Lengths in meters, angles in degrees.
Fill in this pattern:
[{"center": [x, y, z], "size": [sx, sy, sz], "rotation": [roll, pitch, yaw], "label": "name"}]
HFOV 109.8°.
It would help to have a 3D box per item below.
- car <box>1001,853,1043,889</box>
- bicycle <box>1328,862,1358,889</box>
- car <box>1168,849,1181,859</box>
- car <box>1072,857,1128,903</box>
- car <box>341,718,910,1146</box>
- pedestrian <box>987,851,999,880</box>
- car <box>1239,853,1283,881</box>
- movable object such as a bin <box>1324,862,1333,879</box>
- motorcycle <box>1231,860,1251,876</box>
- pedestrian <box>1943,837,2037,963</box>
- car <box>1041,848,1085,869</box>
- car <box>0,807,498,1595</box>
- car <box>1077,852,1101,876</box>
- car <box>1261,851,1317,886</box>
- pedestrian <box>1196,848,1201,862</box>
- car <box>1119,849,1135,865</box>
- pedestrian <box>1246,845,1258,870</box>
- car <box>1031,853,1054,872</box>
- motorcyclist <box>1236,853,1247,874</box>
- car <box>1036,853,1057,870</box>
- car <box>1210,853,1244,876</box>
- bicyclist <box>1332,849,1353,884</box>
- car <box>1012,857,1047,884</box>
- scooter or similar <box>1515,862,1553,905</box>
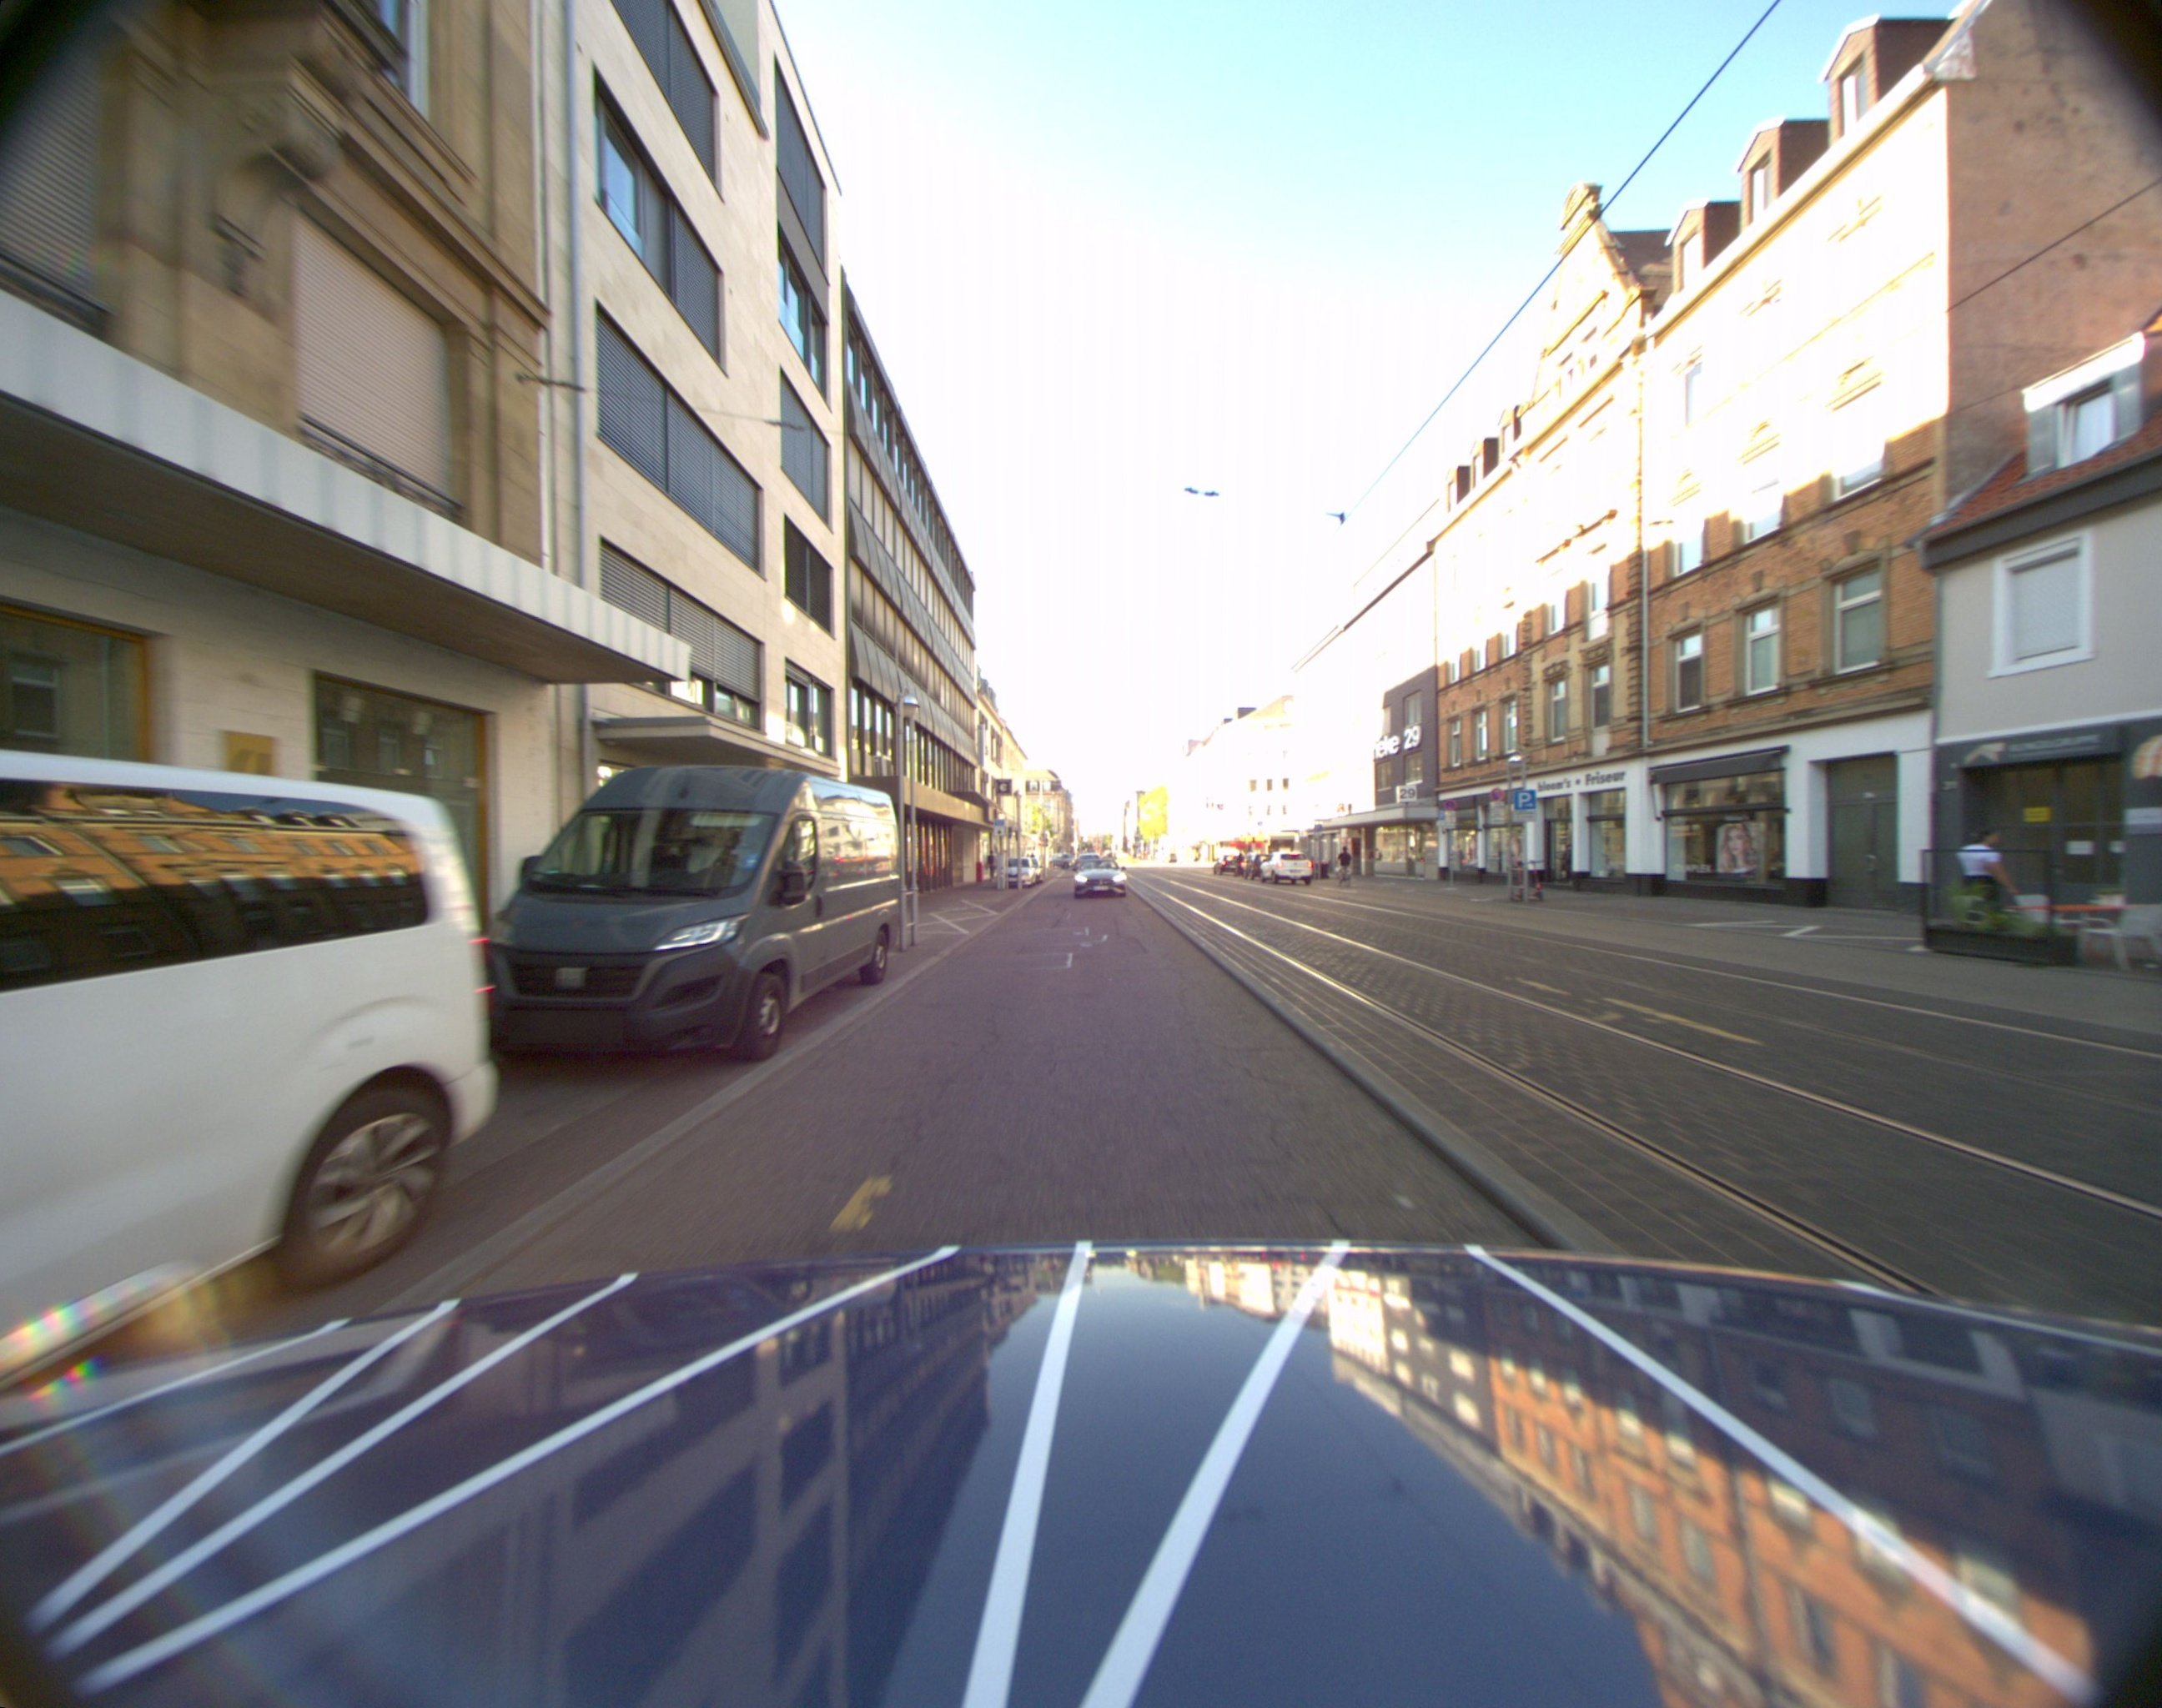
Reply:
[{"center": [-2.769, 0.764, 36.386], "size": [1.630, 1.543, 3.508], "rotation": [2, 1, 1], "label": "car"}, {"center": [11.946, 0.951, 34.730], "size": [0.610, 1.142, 2.100], "rotation": [-3, 1, 1], "label": "bicycle"}, {"center": [14.794, 0.025, 120.356], "size": [1.630, 1.524, 3.463], "rotation": [2, 1, 1], "label": "car"}, {"center": [0.646, 0.862, 27.778], "size": [1.858, 1.463, 4.786], "rotation": [0, 1, 0], "label": "car"}, {"center": [-3.379, 0.522, 7.409], "size": [2.051, 2.486, 5.687], "rotation": [-2, -1, 0], "label": "car"}, {"center": [-5.252, 0.671, 45.363], "size": [0.513, 1.665, 0.744], "rotation": [-3, 1, 1], "label": "pedestrian"}, {"center": [10.520, 0.703, 44.642], "size": [1.667, 1.521, 4.000], "rotation": [0, 1, 1], "label": "car"}, {"center": [14.436, 0.962, 44.322], "size": [0.325, 0.942, 0.467], "rotation": [-1, 1, 1], "label": "movable object such as a bin"}, {"center": [10.287, 0.871, 49.004], "size": [0.907, 0.987, 1.935], "rotation": [0, 1, 1], "label": "motorcycle"}, {"center": [13.365, 0.655, 11.187], "size": [0.581, 1.795, 0.659], "rotation": [-2, 1, 12], "label": "pedestrian"}, {"center": [-1.868, 0.426, 79.185], "size": [3.990, 2.002, 2.003], "rotation": [-2, 1, 30], "label": "car"}, {"center": [-3.600, 0.843, 0.967], "size": [2.051, 1.899, 4.877], "rotation": [0, 1, -2], "label": "car"}, {"center": [0.596, 0.709, 54.674], "size": [1.630, 1.593, 3.330], "rotation": [2, 1, 1], "label": "car"}, {"center": [10.200, 0.664, 37.556], "size": [1.802, 1.625, 3.676], "rotation": [0, 1, 1], "label": "car"}, {"center": [16.910, 0.114, 109.359], "size": [0.669, 1.939, 0.620], "rotation": [-3, 1, 1], "label": "pedestrian"}, {"center": [6.257, 0.347, 103.377], "size": [1.998, 2.002, 4.000], "rotation": [-3, 1, 2], "label": "car"}, {"center": [12.790, 0.222, 56.718], "size": [0.705, 1.830, 0.636], "rotation": [-3, 1, 1], "label": "pedestrian"}, {"center": [-3.071, 0.657, 60.817], "size": [1.630, 1.342, 3.330], "rotation": [2, 1, 1], "label": "car"}, {"center": [10.342, 0.608, 49.018], "size": [0.540, 1.296, 0.655], "rotation": [1, 1, 1], "label": "motorcyclist"}, {"center": [-2.945, 0.642, 65.641], "size": [1.630, 1.342, 3.463], "rotation": [2, 1, 1], "label": "car"}, {"center": [10.332, 0.683, 53.922], "size": [1.667, 1.521, 4.000], "rotation": [0, 1, 1], "label": "car"}, {"center": [11.932, 0.565, 34.690], "size": [0.576, 1.538, 0.861], "rotation": [-3, 1, 1], "label": "bicyclist"}, {"center": [-2.785, 0.869, 41.471], "size": [1.630, 1.342, 3.330], "rotation": [2, 1, 1], "label": "car"}, {"center": [13.766, 0.875, 23.097], "size": [0.404, 1.216, 1.202], "rotation": [-3, 1, 1], "label": "scooter or similar"}]
